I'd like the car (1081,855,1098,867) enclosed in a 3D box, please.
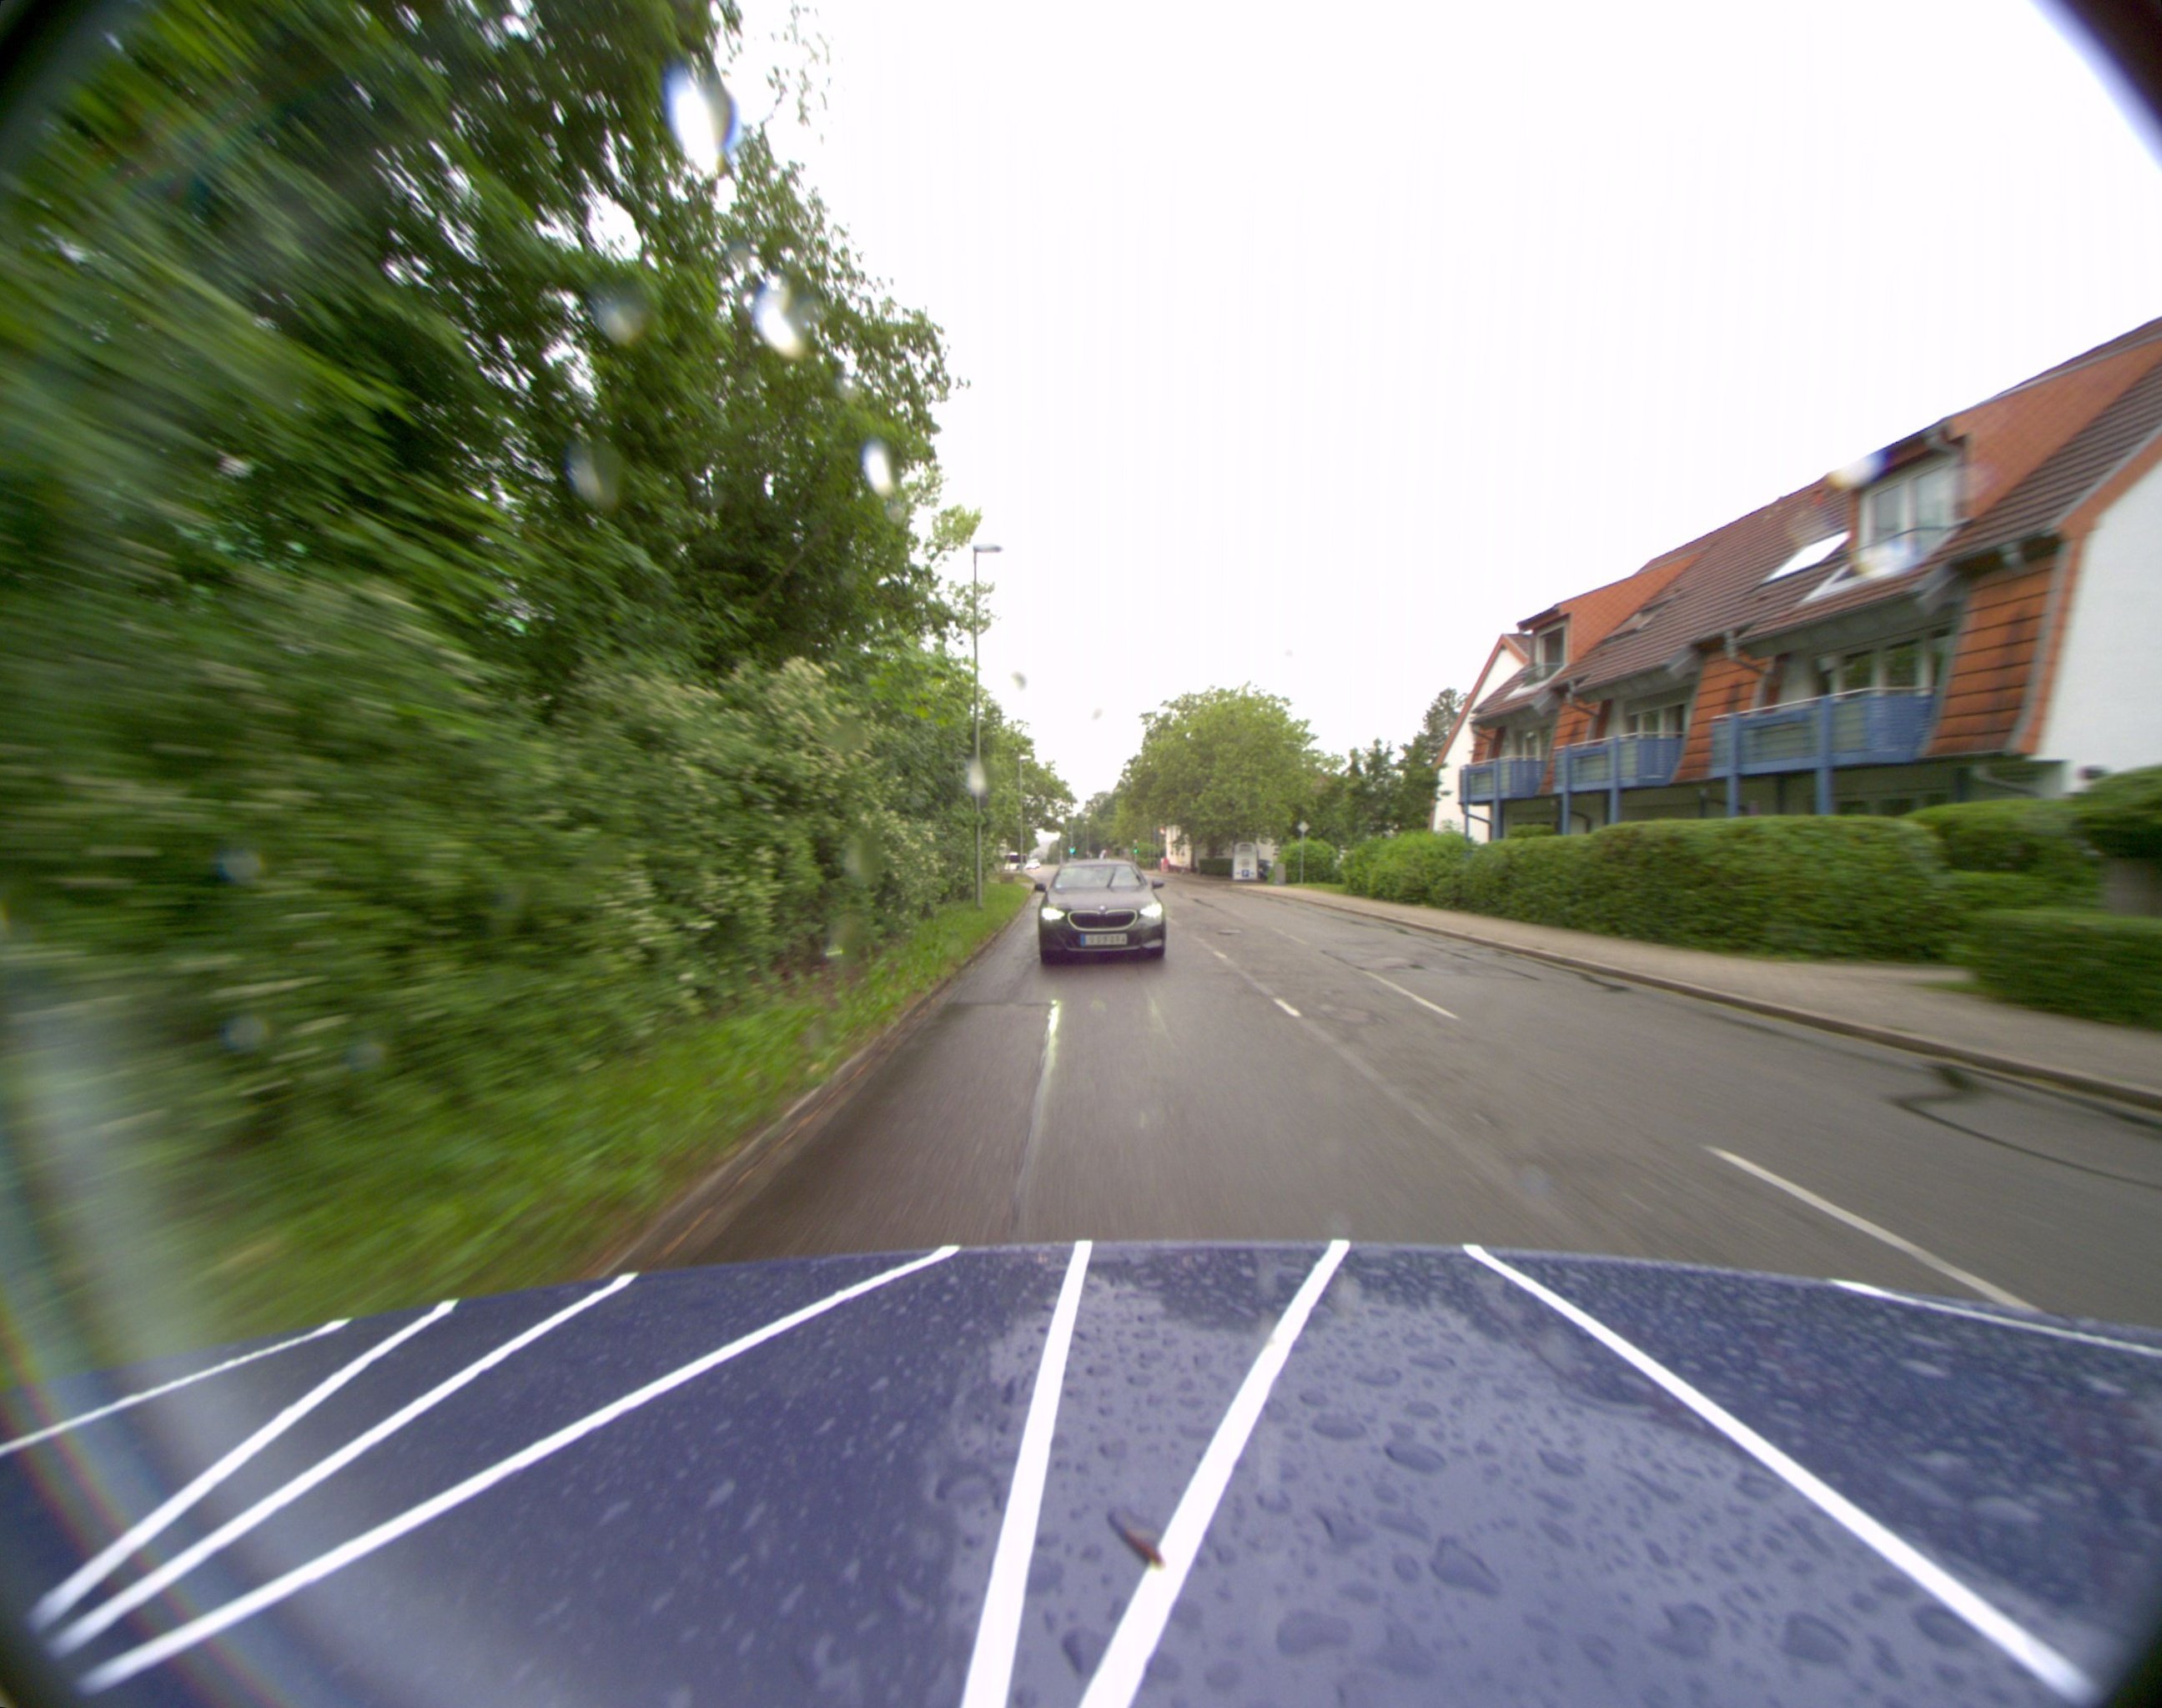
[{"bbox_3d":[1.124,0.917,103.592,1.999,1.420,4.388,4,-2,-3],"label":"car"}]

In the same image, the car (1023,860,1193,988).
[{"bbox_3d":[0.200,0.900,11.713,2.000,1.586,4.145,-1,0,-6],"label":"car"}]

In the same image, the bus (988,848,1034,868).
[{"bbox_3d":[-11.522,0.586,126.709,2.893,2.770,10.400,-3,1,24],"label":"bus"}]

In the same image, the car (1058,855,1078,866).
[{"bbox_3d":[-1.922,0.922,111.877,2.001,1.652,4.298,0,-1,-15],"label":"car"}]

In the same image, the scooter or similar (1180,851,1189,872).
[{"bbox_3d":[8.955,0.623,65.781,0.402,1.765,1.511,-1,1,-6],"label":"scooter or similar"}]
